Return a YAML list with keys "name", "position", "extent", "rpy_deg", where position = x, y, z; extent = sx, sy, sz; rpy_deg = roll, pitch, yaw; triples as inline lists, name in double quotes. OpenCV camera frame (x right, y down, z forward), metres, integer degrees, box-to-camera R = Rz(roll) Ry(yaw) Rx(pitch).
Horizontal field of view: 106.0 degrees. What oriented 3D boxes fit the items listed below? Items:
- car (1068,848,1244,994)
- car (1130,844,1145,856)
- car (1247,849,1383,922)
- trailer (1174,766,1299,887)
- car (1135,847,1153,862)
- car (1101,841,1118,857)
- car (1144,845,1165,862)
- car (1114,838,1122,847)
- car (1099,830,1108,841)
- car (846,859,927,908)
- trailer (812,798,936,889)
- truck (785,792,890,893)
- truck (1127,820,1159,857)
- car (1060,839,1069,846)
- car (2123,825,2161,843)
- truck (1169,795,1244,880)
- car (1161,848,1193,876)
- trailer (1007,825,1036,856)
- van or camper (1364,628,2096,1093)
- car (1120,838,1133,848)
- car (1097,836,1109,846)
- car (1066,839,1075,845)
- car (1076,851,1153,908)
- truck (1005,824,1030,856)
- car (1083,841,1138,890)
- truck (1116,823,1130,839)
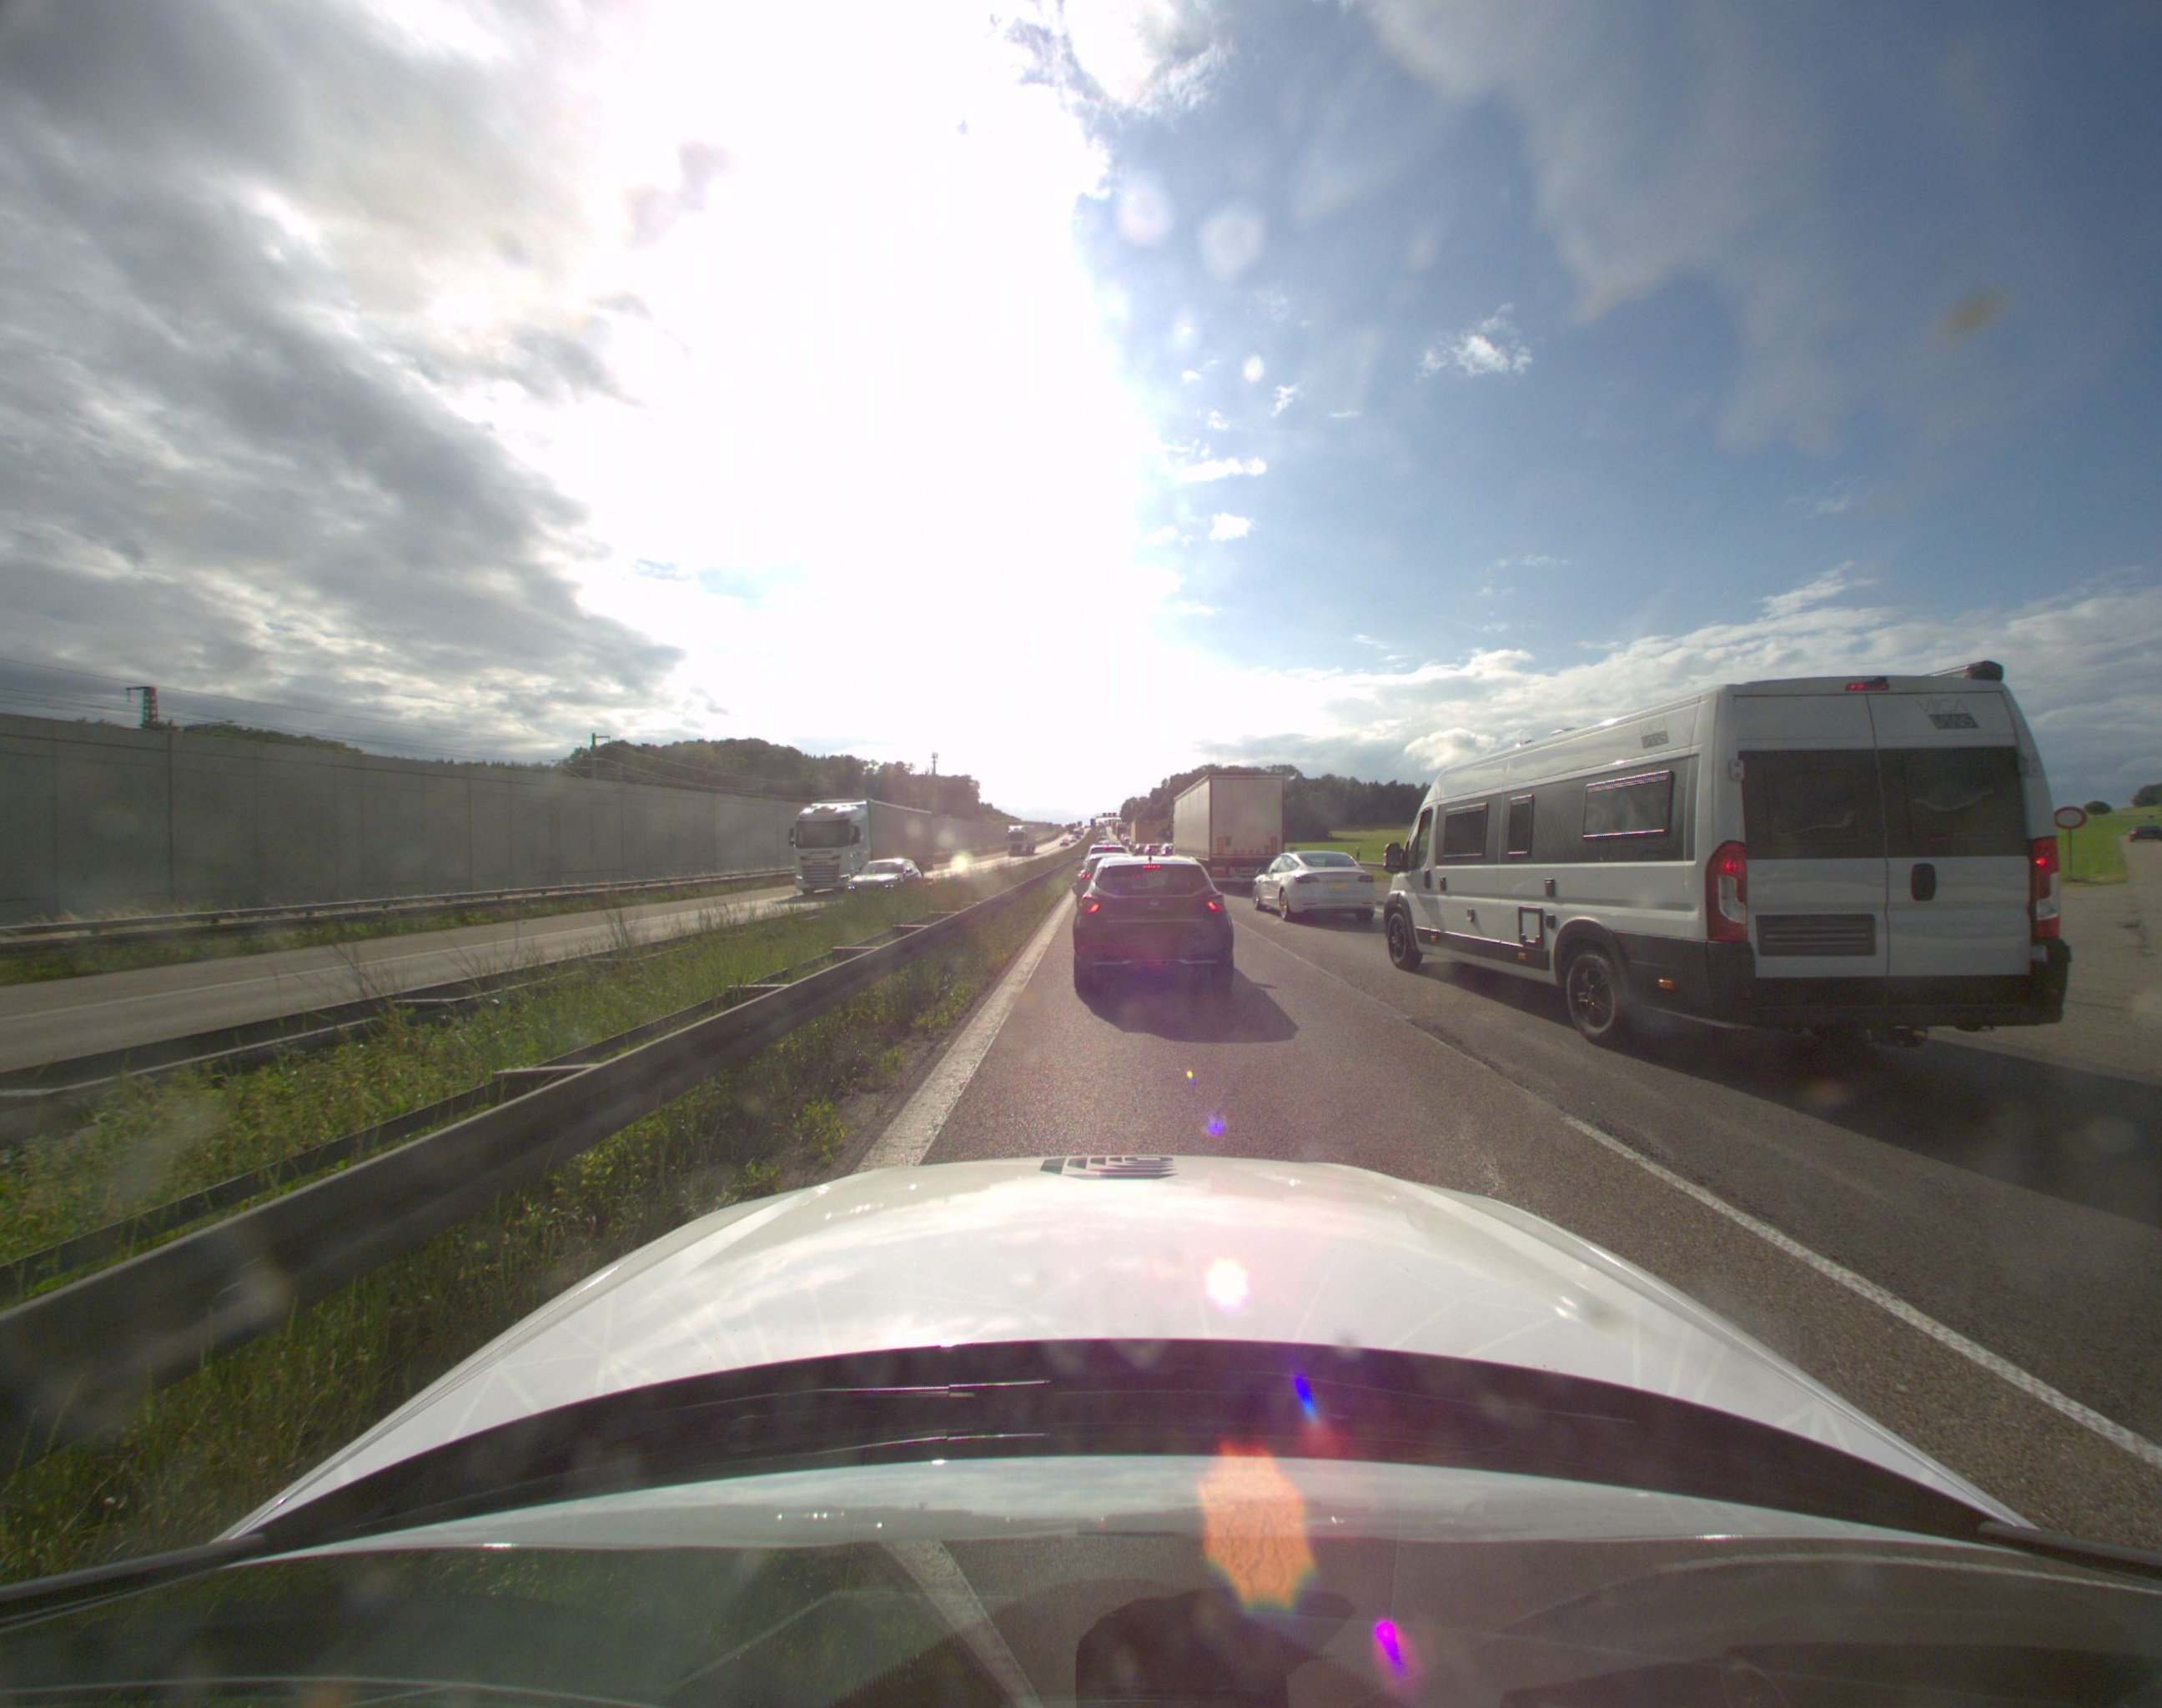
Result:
- name: "car"
  position: [0.830, 0.682, 10.449]
  extent: [1.766, 1.451, 4.234]
  rpy_deg: [-1, 0, 2]
- name: "car"
  position: [8.158, -0.584, 117.840]
  extent: [1.867, 1.644, 4.231]
  rpy_deg: [-1, 1, 0]
- name: "car"
  position: [5.035, 0.604, 18.158]
  extent: [1.782, 1.394, 4.437]
  rpy_deg: [-1, 0, 1]
- name: "trailer"
  position: [5.934, -0.827, 33.821]
  extent: [3.118, 4.011, 13.372]
  rpy_deg: [-1, -1, 2]
- name: "car"
  position: [7.244, -0.003, 94.054]
  extent: [1.866, 1.644, 4.234]
  rpy_deg: [-1, 1, 2]
- name: "car"
  position: [3.275, -0.551, 92.754]
  extent: [1.866, 1.644, 4.234]
  rpy_deg: [-1, 2, 2]
- name: "car"
  position: [7.635, -0.044, 84.473]
  extent: [1.866, 1.644, 4.234]
  rpy_deg: [-1, 1, 2]
- name: "car"
  position: [9.366, -2.960, 207.107]
  extent: [1.866, 2.158, 5.214]
  rpy_deg: [-1, 3, 1]
- name: "car"
  position: [4.892, -4.010, 178.167]
  extent: [1.866, 2.158, 5.214]
  rpy_deg: [-1, 3, 1]
- name: "car"
  position: [-6.345, 0.921, 26.945]
  extent: [1.627, 1.401, 3.897]
  rpy_deg: [-1, 0, 1]
- name: "trailer"
  position: [-10.564, -0.497, 43.593]
  extent: [2.674, 4.037, 13.795]
  rpy_deg: [-2, 0, 1]
- name: "truck"
  position: [-10.749, -0.492, 36.595]
  extent: [2.675, 4.068, 5.881]
  rpy_deg: [-2, 0, 1]
- name: "truck"
  position: [8.049, -1.890, 107.427]
  extent: [3.286, 4.577, 12.439]
  rpy_deg: [0, 0, 0]
- name: "car"
  position: [-3.388, -2.372, 166.840]
  extent: [1.646, 1.451, 3.957]
  rpy_deg: [-1, 0, 1]
- name: "car"
  position: [90.937, -1.674, 69.660]
  extent: [4.255, 1.432, 1.810]
  rpy_deg: [0, 0, -43]
- name: "truck"
  position: [6.190, -0.756, 41.030]
  extent: [3.121, 4.016, 5.166]
  rpy_deg: [-1, -1, 2]
- name: "car"
  position: [6.000, 0.470, 51.270]
  extent: [1.691, 1.610, 4.440]
  rpy_deg: [-1, 0, 3]
- name: "trailer"
  position: [-8.577, -1.892, 119.358]
  extent: [2.780, 4.077, 13.522]
  rpy_deg: [-3, 0, 1]
- name: "van or camper"
  position: [4.902, 0.033, 7.950]
  extent: [2.207, 2.681, 6.335]
  rpy_deg: [-1, 0, 2]
- name: "car"
  position: [8.331, -2.086, 149.714]
  extent: [1.868, 1.644, 4.230]
  rpy_deg: [-1, 2, -2]
- name: "car"
  position: [3.545, -2.156, 134.254]
  extent: [1.867, 1.644, 4.233]
  rpy_deg: [-1, 2, 0]
- name: "car"
  position: [-2.589, -2.915, 197.041]
  extent: [1.866, 1.451, 4.234]
  rpy_deg: [-1, 0, 2]
- name: "car"
  position: [0.889, 0.628, 22.137]
  extent: [1.866, 1.357, 4.234]
  rpy_deg: [-1, 0, 2]
- name: "truck"
  position: [-8.702, -1.921, 112.453]
  extent: [2.766, 4.088, 5.533]
  rpy_deg: [-3, 0, 1]
- name: "car"
  position: [1.090, 0.392, 30.100]
  extent: [1.866, 1.644, 4.234]
  rpy_deg: [-1, 0, 2]
- name: "truck"
  position: [12.014, -6.592, 232.442]
  extent: [3.453, 4.576, 12.442]
  rpy_deg: [0, 1, 0]
